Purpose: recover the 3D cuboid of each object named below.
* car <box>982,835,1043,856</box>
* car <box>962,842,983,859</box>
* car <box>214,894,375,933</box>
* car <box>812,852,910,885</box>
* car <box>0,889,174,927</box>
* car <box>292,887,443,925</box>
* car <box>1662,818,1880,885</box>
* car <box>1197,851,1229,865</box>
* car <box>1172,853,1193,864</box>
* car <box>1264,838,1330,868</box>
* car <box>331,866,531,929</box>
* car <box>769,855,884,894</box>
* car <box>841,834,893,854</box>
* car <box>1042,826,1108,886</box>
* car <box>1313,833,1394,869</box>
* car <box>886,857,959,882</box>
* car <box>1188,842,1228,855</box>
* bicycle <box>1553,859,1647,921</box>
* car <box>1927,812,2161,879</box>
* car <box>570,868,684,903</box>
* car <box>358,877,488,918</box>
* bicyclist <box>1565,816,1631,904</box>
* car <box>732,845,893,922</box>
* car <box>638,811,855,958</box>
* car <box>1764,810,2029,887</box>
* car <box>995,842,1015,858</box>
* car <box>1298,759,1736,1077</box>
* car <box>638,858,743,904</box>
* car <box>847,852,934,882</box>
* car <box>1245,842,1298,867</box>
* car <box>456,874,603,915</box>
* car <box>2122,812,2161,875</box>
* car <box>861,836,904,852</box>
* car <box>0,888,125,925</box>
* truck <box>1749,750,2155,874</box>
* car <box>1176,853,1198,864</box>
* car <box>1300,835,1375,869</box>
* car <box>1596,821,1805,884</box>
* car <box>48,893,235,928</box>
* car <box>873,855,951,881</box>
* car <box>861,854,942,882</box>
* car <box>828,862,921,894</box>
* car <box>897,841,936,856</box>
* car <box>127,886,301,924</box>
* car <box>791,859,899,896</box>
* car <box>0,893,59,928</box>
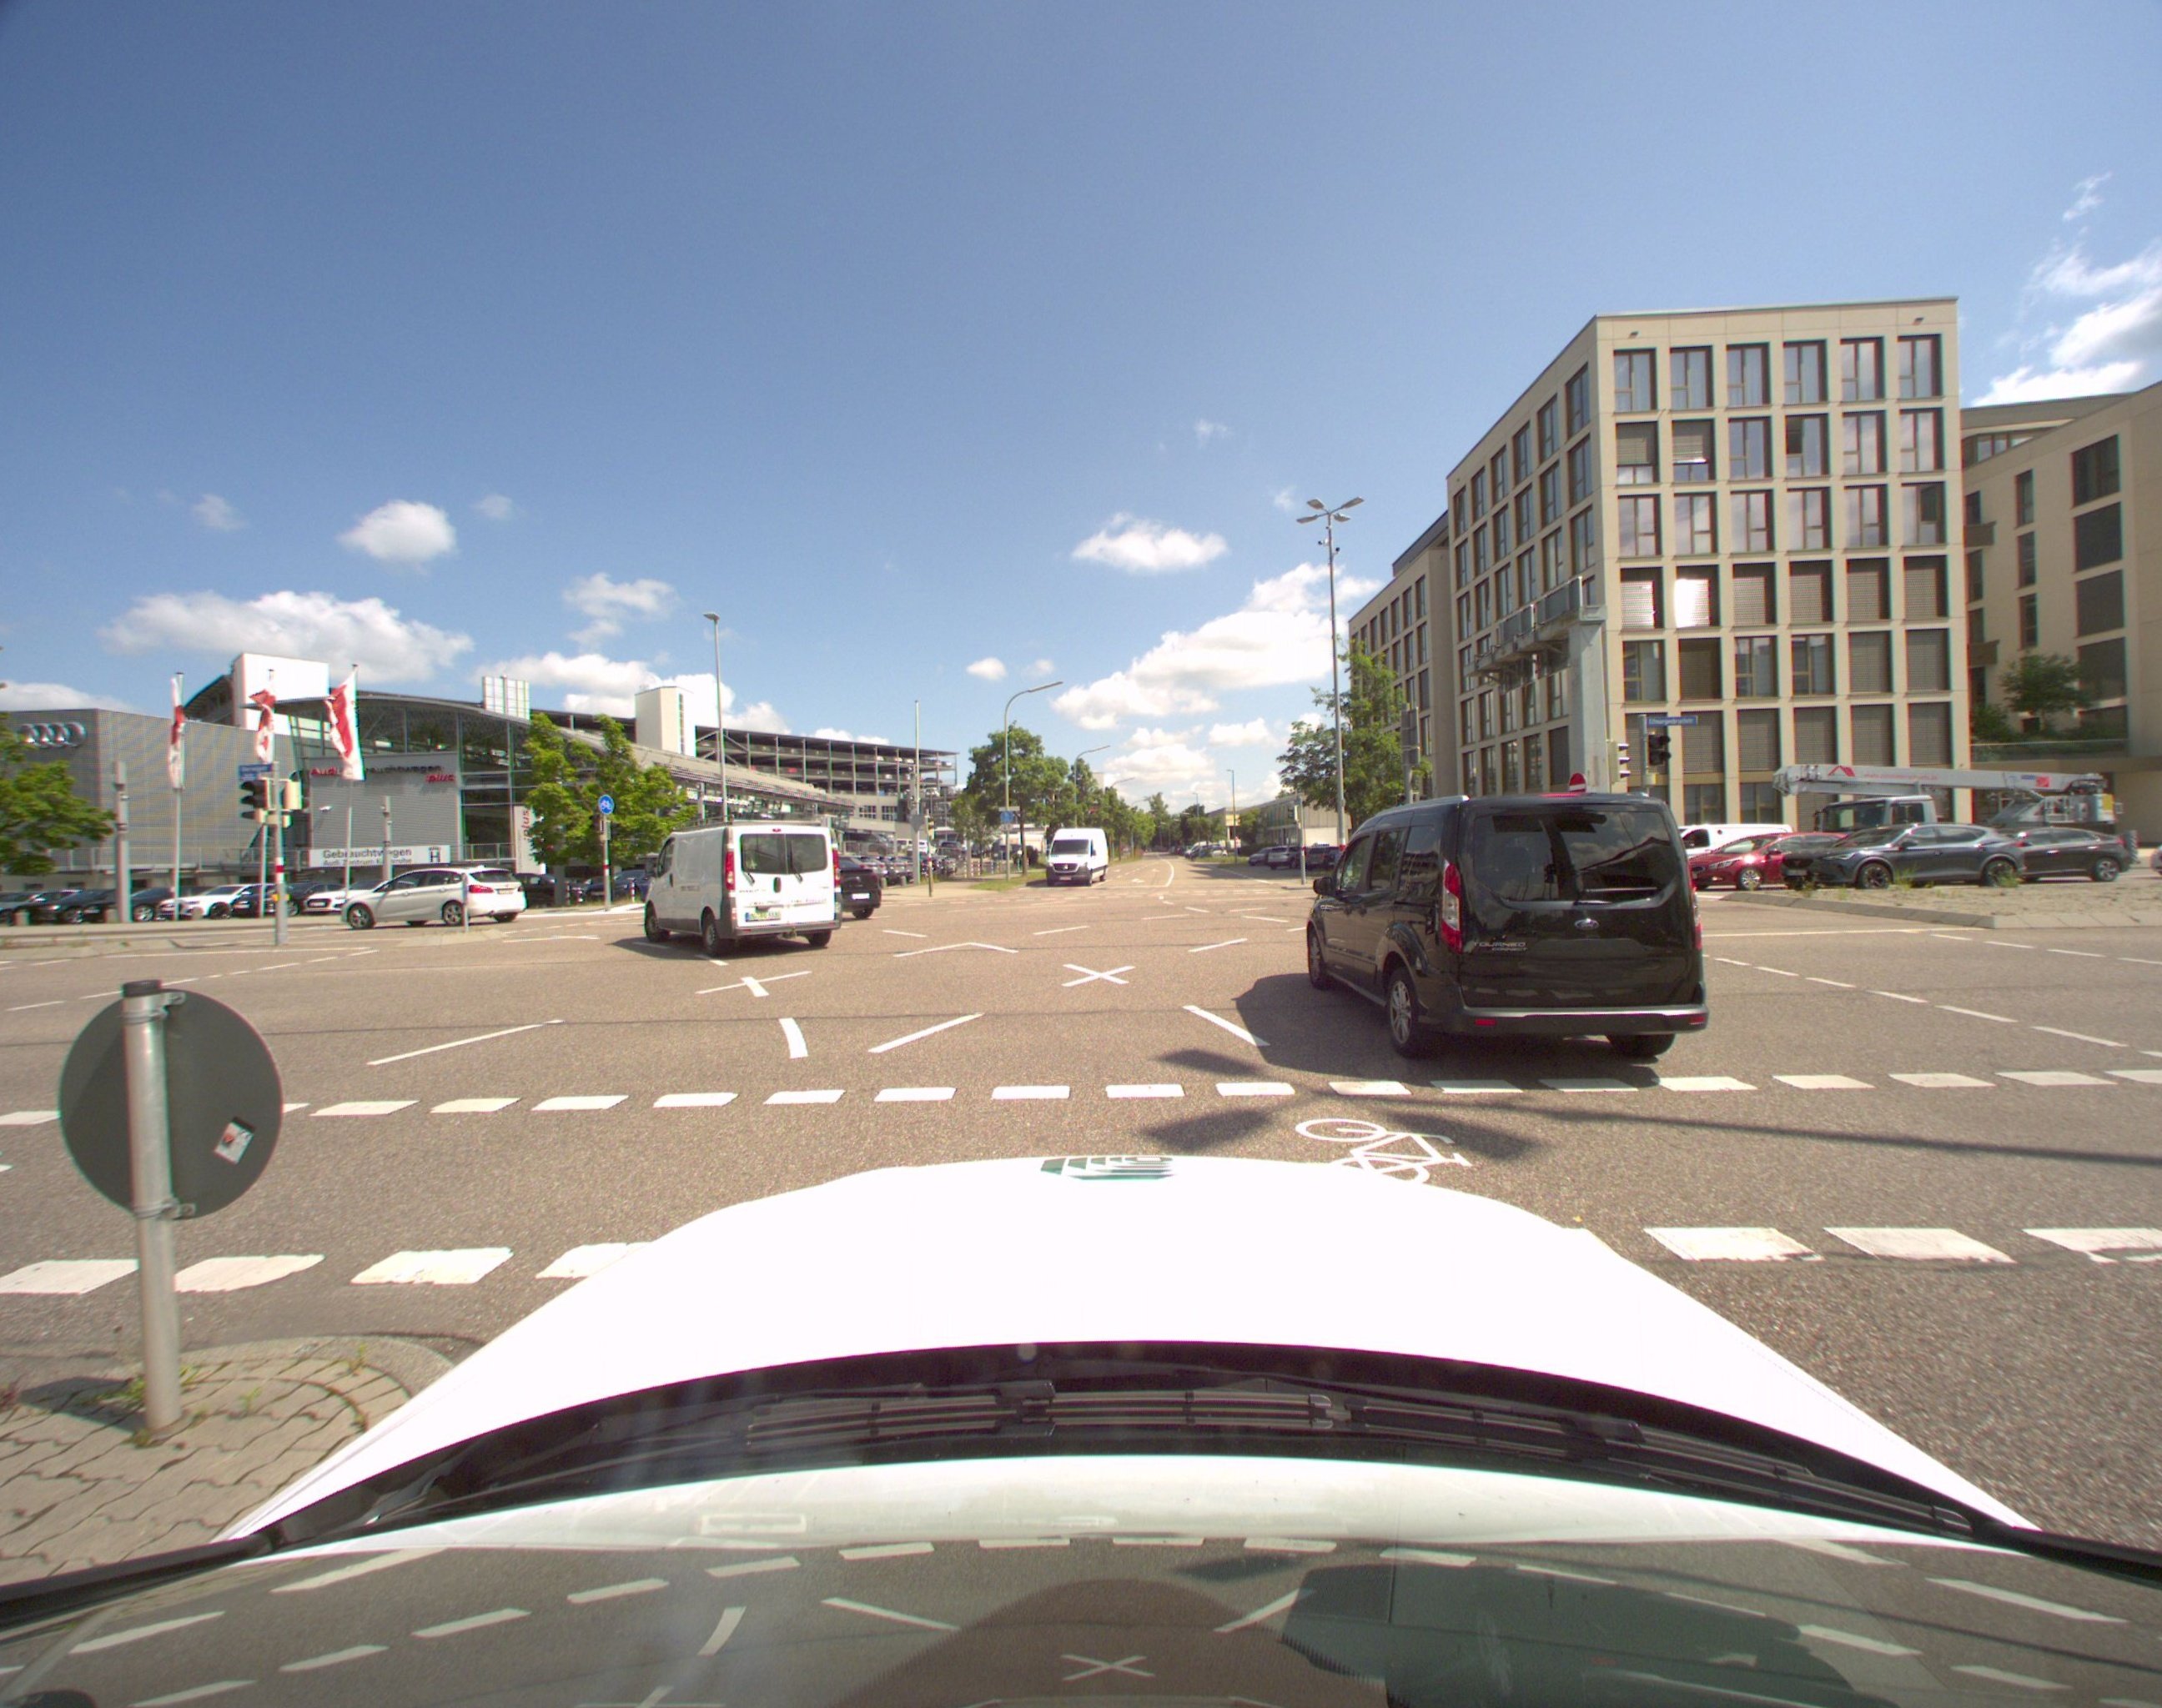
[{"bbox_3d":[-7.375,-0.898,87.976,6.365,2.102,1.765,0,-1,0],"label":"car"},{"bbox_3d":[-10.795,-0.340,81.350,1.555,1.552,3.602,0,-1,1],"label":"car"},{"bbox_3d":[-31.281,2.333,32.622,1.894,1.297,4.591,0,-1,1],"label":"car"},{"bbox_3d":[-11.429,0.748,42.538,4.556,1.678,1.908,0,-1,2],"label":"car"},{"bbox_3d":[-39.476,2.096,32.223,1.894,1.384,4.590,0,-3,1],"label":"car"},{"bbox_3d":[-28.353,2.020,32.603,1.894,1.297,4.591,0,-1,1],"label":"car"},{"bbox_3d":[17.816,-0.045,21.169,4.187,1.627,1.827,0,-1,-2],"label":"car"},{"bbox_3d":[17.386,0.570,107.512,3.968,1.750,2.003,0,-1,5],"label":"car"},{"bbox_3d":[20.070,0.859,160.956,3.977,2.014,1.998,0,-1,-3],"label":"car"},{"bbox_3d":[14.879,-0.031,56.237,3.977,2.014,1.998,0,-1,-3],"label":"car"},{"bbox_3d":[-17.425,1.150,21.951,3.970,1.618,1.778,0,-1,3],"label":"car"},{"bbox_3d":[-11.427,0.936,36.800,4.556,1.678,1.908,0,-1,2],"label":"car"},{"bbox_3d":[-20.192,-0.939,76.831,4.427,1.801,1.764,0,-1,0],"label":"car"},{"bbox_3d":[-0.144,0.162,38.810,2.120,2.607,6.879,-1,-1,8],"label":"car"},{"bbox_3d":[15.602,-0.154,46.830,3.977,2.014,1.998,0,-1,-3],"label":"car"},{"bbox_3d":[-10.824,1.047,55.762,4.556,1.678,1.908,0,-1,2],"label":"car"},{"bbox_3d":[20.653,-0.862,132.505,6.313,2.014,2.575,0,-1,3],"label":"car"},{"bbox_3d":[9.015,0.606,14.247,0.643,1.012,1.983,-1,-1,9],"label":"bicycle"},{"bbox_3d":[24.856,-0.199,21.037,4.187,1.627,1.827,0,-1,-2],"label":"car"},{"bbox_3d":[-18.068,1.233,32.682,1.894,1.297,4.591,0,-1,1],"label":"car"},{"bbox_3d":[-25.975,1.746,32.344,1.783,1.464,4.000,-2,-3,1],"label":"car"},{"bbox_3d":[9.009,0.112,14.224,0.632,1.477,0.918,-1,-1,9],"label":"bicyclist"},{"bbox_3d":[-6.356,0.652,19.088,3.949,1.629,1.791,-2,-1,41],"label":"car"},{"bbox_3d":[-5.789,0.459,13.762,1.990,2.060,4.509,0,-1,-42],"label":"car"},{"bbox_3d":[18.090,-0.103,18.200,4.187,1.627,1.827,0,-1,-2],"label":"car"},{"bbox_3d":[-7.492,-0.373,80.526,1.555,1.552,3.602,0,-1,1],"label":"car"},{"bbox_3d":[3.159,0.412,6.939,1.815,1.905,4.005,-1,-1,4],"label":"car"},{"bbox_3d":[-15.472,1.054,32.588,1.894,1.678,4.591,0,-1,1],"label":"car"},{"bbox_3d":[-11.132,0.771,47.740,4.556,1.678,1.908,0,-1,2],"label":"car"},{"bbox_3d":[15.882,0.027,68.007,3.977,2.014,1.998,0,-1,-3],"label":"car"},{"bbox_3d":[-22.431,1.657,33.229,4.724,1.464,1.795,-2,-4,0],"label":"car"},{"bbox_3d":[29.991,-0.295,20.863,4.181,1.627,1.829,0,-1,2],"label":"car"},{"bbox_3d":[-19.878,-0.987,81.850,3.982,1.552,1.761,0,-1,-6],"label":"car"},{"bbox_3d":[-42.189,2.120,32.761,1.894,1.405,4.589,0,-4,1],"label":"car"},{"bbox_3d":[26.294,-1.204,24.861,9.724,3.555,2.673,0,-1,-2],"label":"truck"},{"bbox_3d":[20.461,0.893,157.089,3.977,2.014,1.998,0,-1,-3],"label":"car"},{"bbox_3d":[15.807,-0.088,50.363,3.977,2.014,1.998,0,-1,-3],"label":"car"},{"bbox_3d":[18.885,-0.038,24.973,4.963,1.838,1.998,0,-1,-2],"label":"car"},{"bbox_3d":[-36.965,2.247,32.267,1.894,1.298,4.589,0,-4,1],"label":"car"},{"bbox_3d":[-10.971,0.908,53.063,4.556,1.678,1.908,0,-1,2],"label":"car"},{"bbox_3d":[-11.063,0.847,50.472,4.556,1.678,1.908,0,-1,2],"label":"car"},{"bbox_3d":[-11.381,1.307,45.071,4.556,1.678,1.908,0,-1,2],"label":"car"},{"bbox_3d":[-17.972,-0.560,88.924,3.982,1.552,1.761,0,-1,-6],"label":"car"},{"bbox_3d":[-34.082,1.977,32.251,1.894,1.297,4.591,0,-1,1],"label":"car"},{"bbox_3d":[-11.296,1.129,39.168,4.556,1.678,1.908,0,-1,2],"label":"car"},{"bbox_3d":[-45.033,2.284,32.778,1.894,1.405,4.590,0,-2,1],"label":"car"}]
